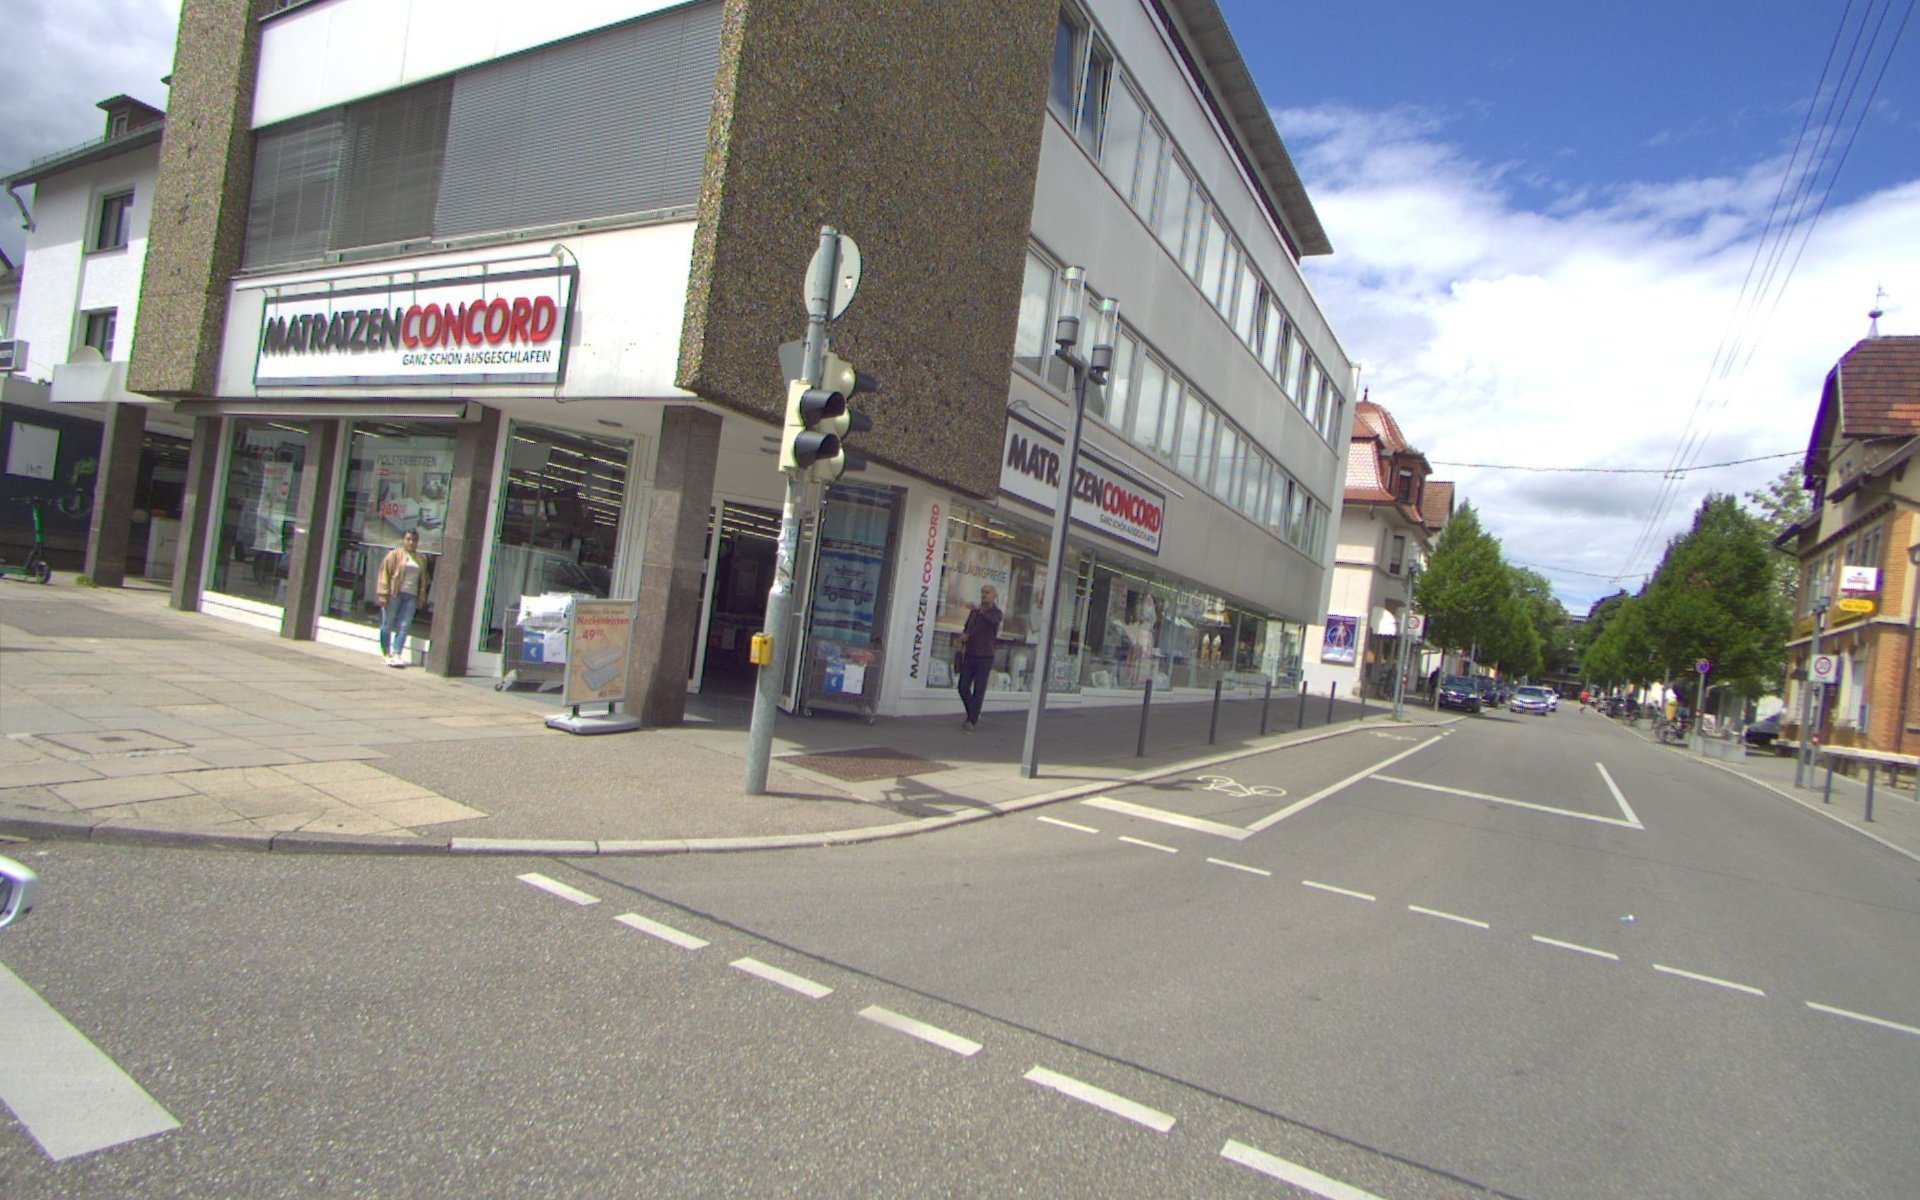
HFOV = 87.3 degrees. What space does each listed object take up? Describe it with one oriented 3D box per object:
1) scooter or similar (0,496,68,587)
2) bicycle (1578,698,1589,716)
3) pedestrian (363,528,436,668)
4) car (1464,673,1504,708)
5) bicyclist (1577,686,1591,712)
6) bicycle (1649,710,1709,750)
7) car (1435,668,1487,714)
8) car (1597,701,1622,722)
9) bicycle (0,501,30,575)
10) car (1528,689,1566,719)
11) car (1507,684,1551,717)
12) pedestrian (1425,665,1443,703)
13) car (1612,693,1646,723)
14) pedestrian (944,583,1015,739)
[{"bbox_3d":[-14.192,-0.899,15.136,1.222,1.269,0.341,7,2,5],"label":"scooter or similar"},{"bbox_3d":[45.812,7.874,73.928,0.552,1.234,1.716,6,-2,31],"label":"bicycle"},{"bbox_3d":[-6.220,-0.021,11.161,0.493,1.478,0.502,8,3,44],"label":"pedestrian"},{"bbox_3d":[29.743,5.165,57.213,1.793,1.669,3.999,6,-3,27],"label":"car"},{"bbox_3d":[45.825,7.251,73.848,0.681,1.781,0.944,6,-2,31],"label":"bicyclist"},{"bbox_3d":[27.112,4.889,37.964,1.689,1.234,0.561,6,-2,31],"label":"bicycle"},{"bbox_3d":[21.667,3.977,43.513,1.793,1.669,3.999,6,-3,27],"label":"car"},{"bbox_3d":[57.008,9.794,88.280,1.592,1.620,3.676,6,-3,32],"label":"car"},{"bbox_3d":[-16.675,-1.157,16.713,2.256,1.158,0.556,8,1,13],"label":"bicycle"},{"bbox_3d":[38.838,6.922,66.642,1.793,1.669,3.999,6,-3,27],"label":"car"},{"bbox_3d":[29.833,5.294,52.823,1.676,1.414,4.000,6,-3,27],"label":"car"},{"bbox_3d":[23.382,4.133,49.610,0.569,1.728,0.619,8,3,21],"label":"pedestrian"},{"bbox_3d":[46.996,7.620,70.711,1.652,1.817,3.812,6,-3,32],"label":"car"},{"bbox_3d":[0.223,0.700,11.832,0.608,1.728,0.579,7,3,-1],"label":"pedestrian"}]
